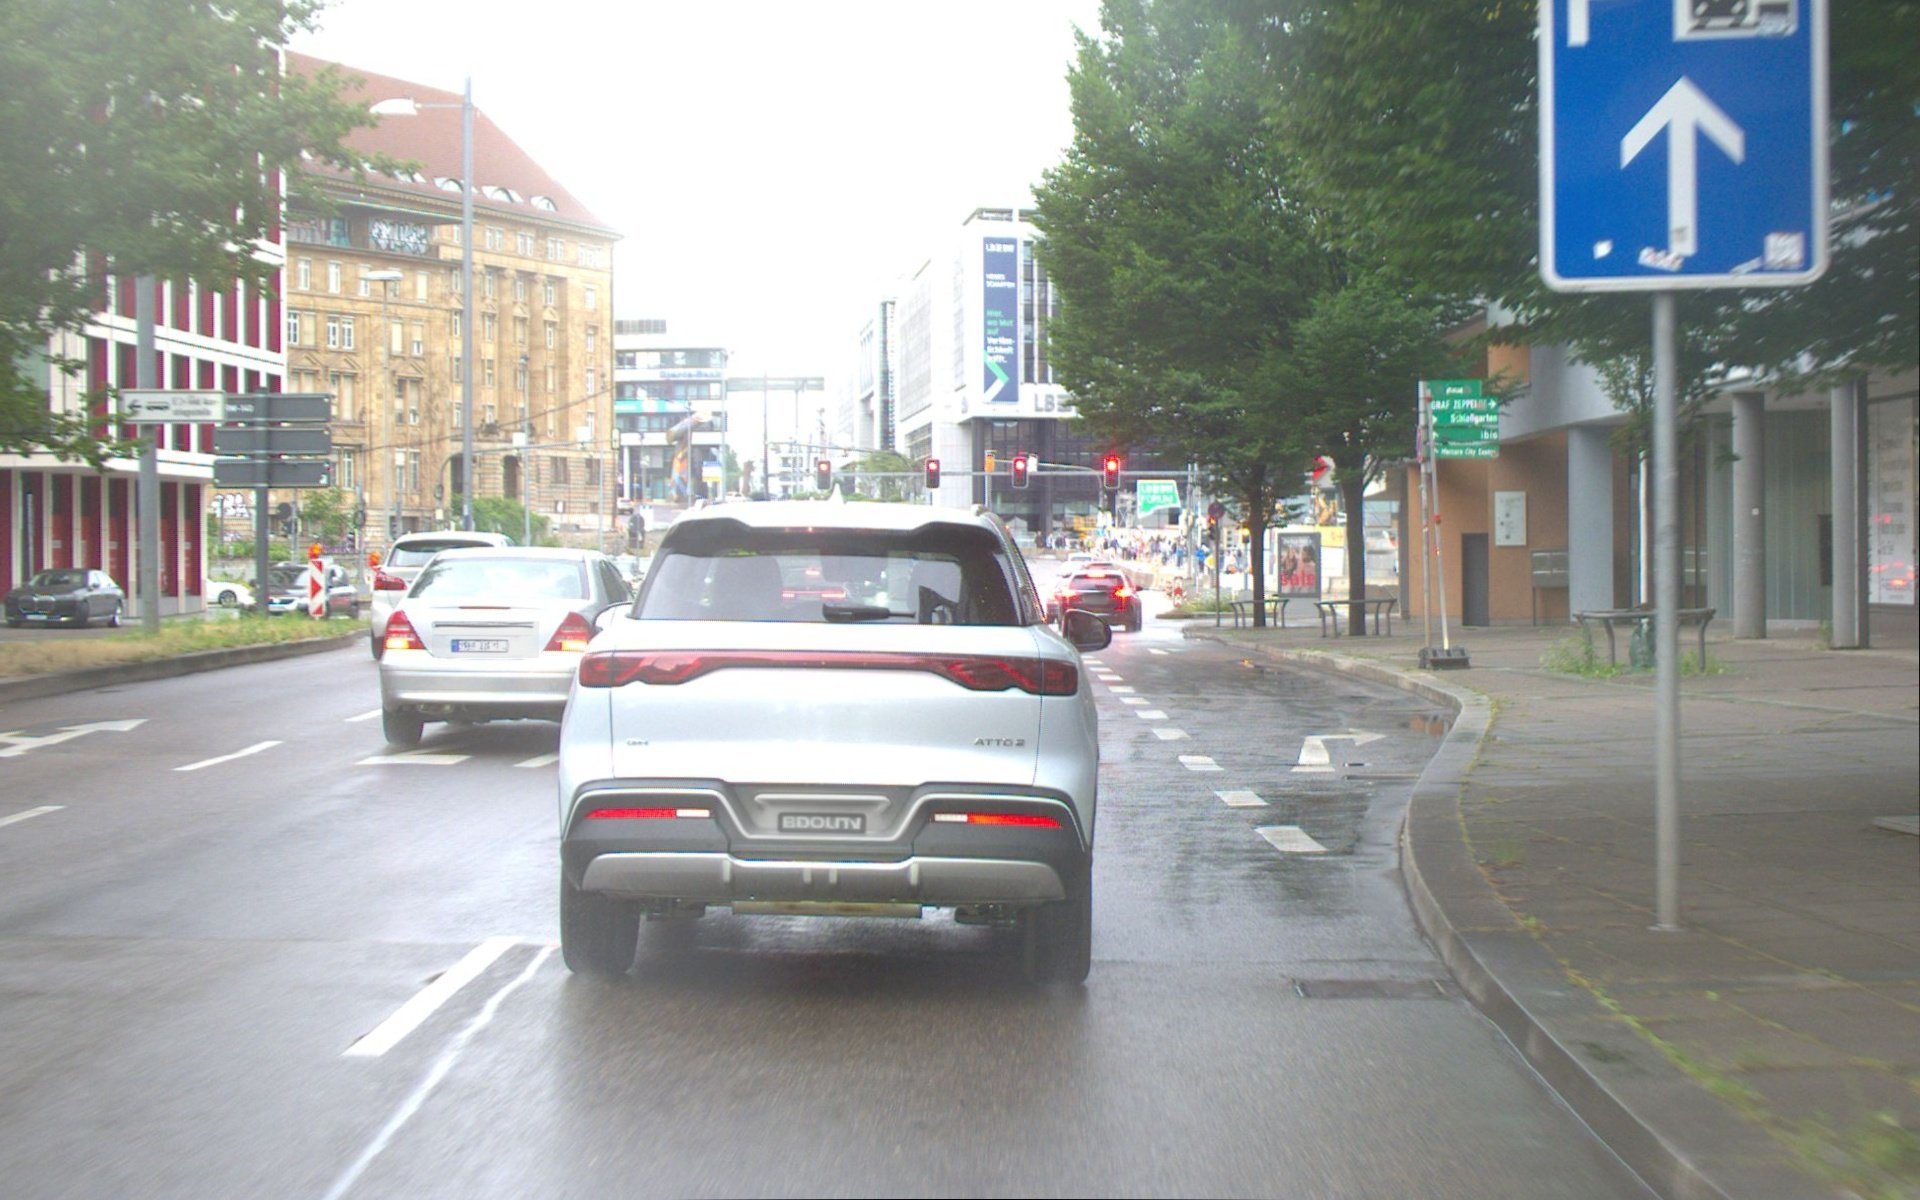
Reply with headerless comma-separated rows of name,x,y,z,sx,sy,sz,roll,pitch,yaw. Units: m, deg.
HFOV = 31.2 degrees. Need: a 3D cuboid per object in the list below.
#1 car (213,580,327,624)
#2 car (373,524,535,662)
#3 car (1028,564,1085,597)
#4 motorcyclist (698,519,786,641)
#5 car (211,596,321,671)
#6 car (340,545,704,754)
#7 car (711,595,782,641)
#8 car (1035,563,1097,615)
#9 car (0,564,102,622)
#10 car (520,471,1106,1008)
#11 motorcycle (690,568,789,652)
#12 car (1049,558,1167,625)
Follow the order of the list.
car,-27.791,0.076,138.415,4.379,1.656,2.001,1,-1,-14
car,-6.293,-0.070,43.102,1.732,1.610,4.000,1,-1,-5
car,5.473,-1.113,195.238,1.993,1.810,4.001,1,-1,-18
motorcyclist,-2.696,-0.242,42.663,0.941,1.470,1.100,1,-1,3
car,-15.825,0.769,78.601,1.825,1.627,4.876,1,-1,-4
car,-3.168,0.358,25.747,1.733,1.399,4.382,1,0,6
car,-6.693,0.573,108.085,1.783,1.369,3.993,1,0,3
car,3.444,-0.337,111.301,1.783,1.594,4.485,1,-1,4
car,-23.435,-0.169,88.294,1.697,1.419,3.955,-1,0,1
car,-0.498,0.457,12.903,1.808,1.655,4.171,1,-1,-1
motorcycle,-2.703,0.123,42.428,0.942,0.986,2.294,1,0,3
car,3.596,-0.189,82.862,1.893,1.539,3.990,1,-1,17
